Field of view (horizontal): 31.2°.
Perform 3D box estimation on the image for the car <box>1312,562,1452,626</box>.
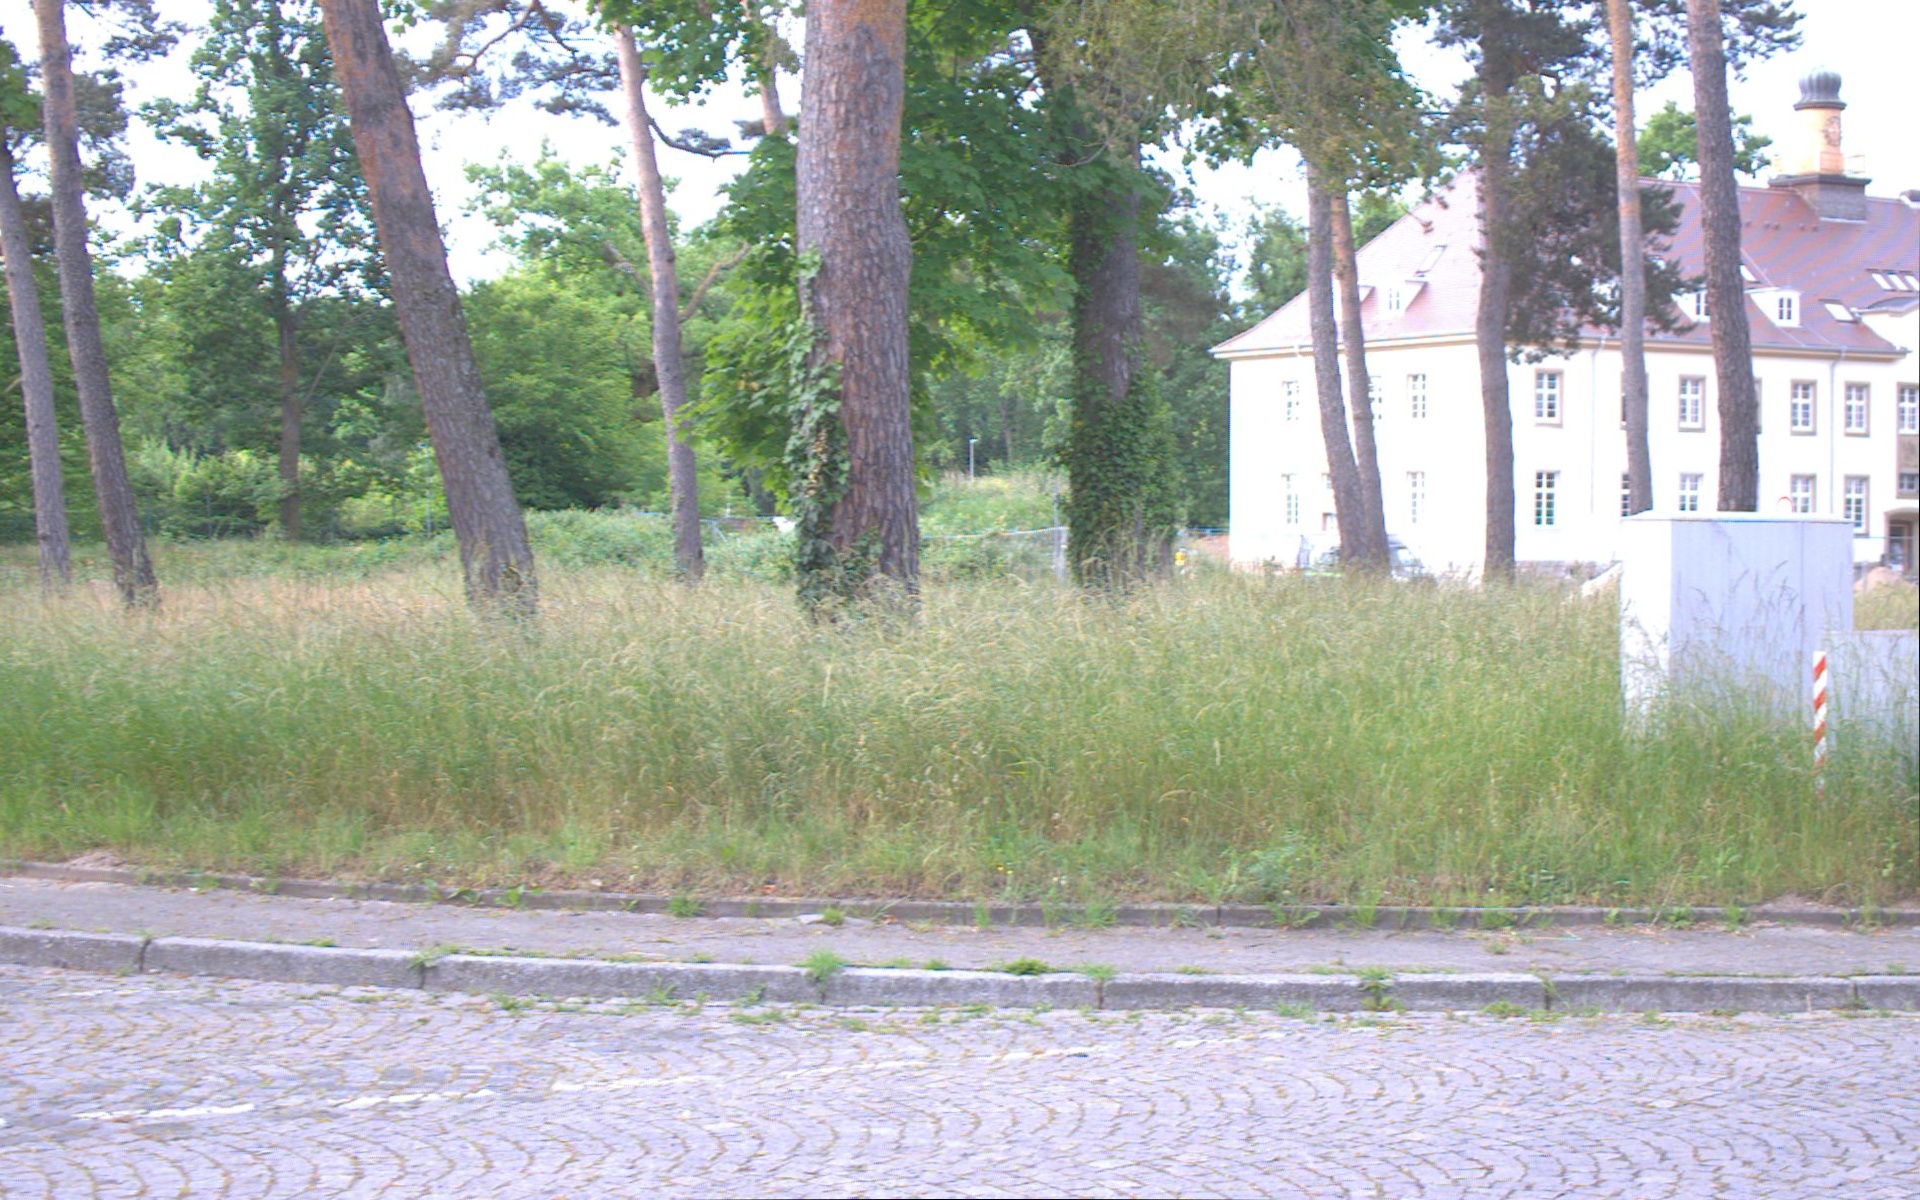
[{"bbox_3d":[15.120,-0.233,123.488,1.994,2.192,5.037,0,1,-38],"label":"car"}]
